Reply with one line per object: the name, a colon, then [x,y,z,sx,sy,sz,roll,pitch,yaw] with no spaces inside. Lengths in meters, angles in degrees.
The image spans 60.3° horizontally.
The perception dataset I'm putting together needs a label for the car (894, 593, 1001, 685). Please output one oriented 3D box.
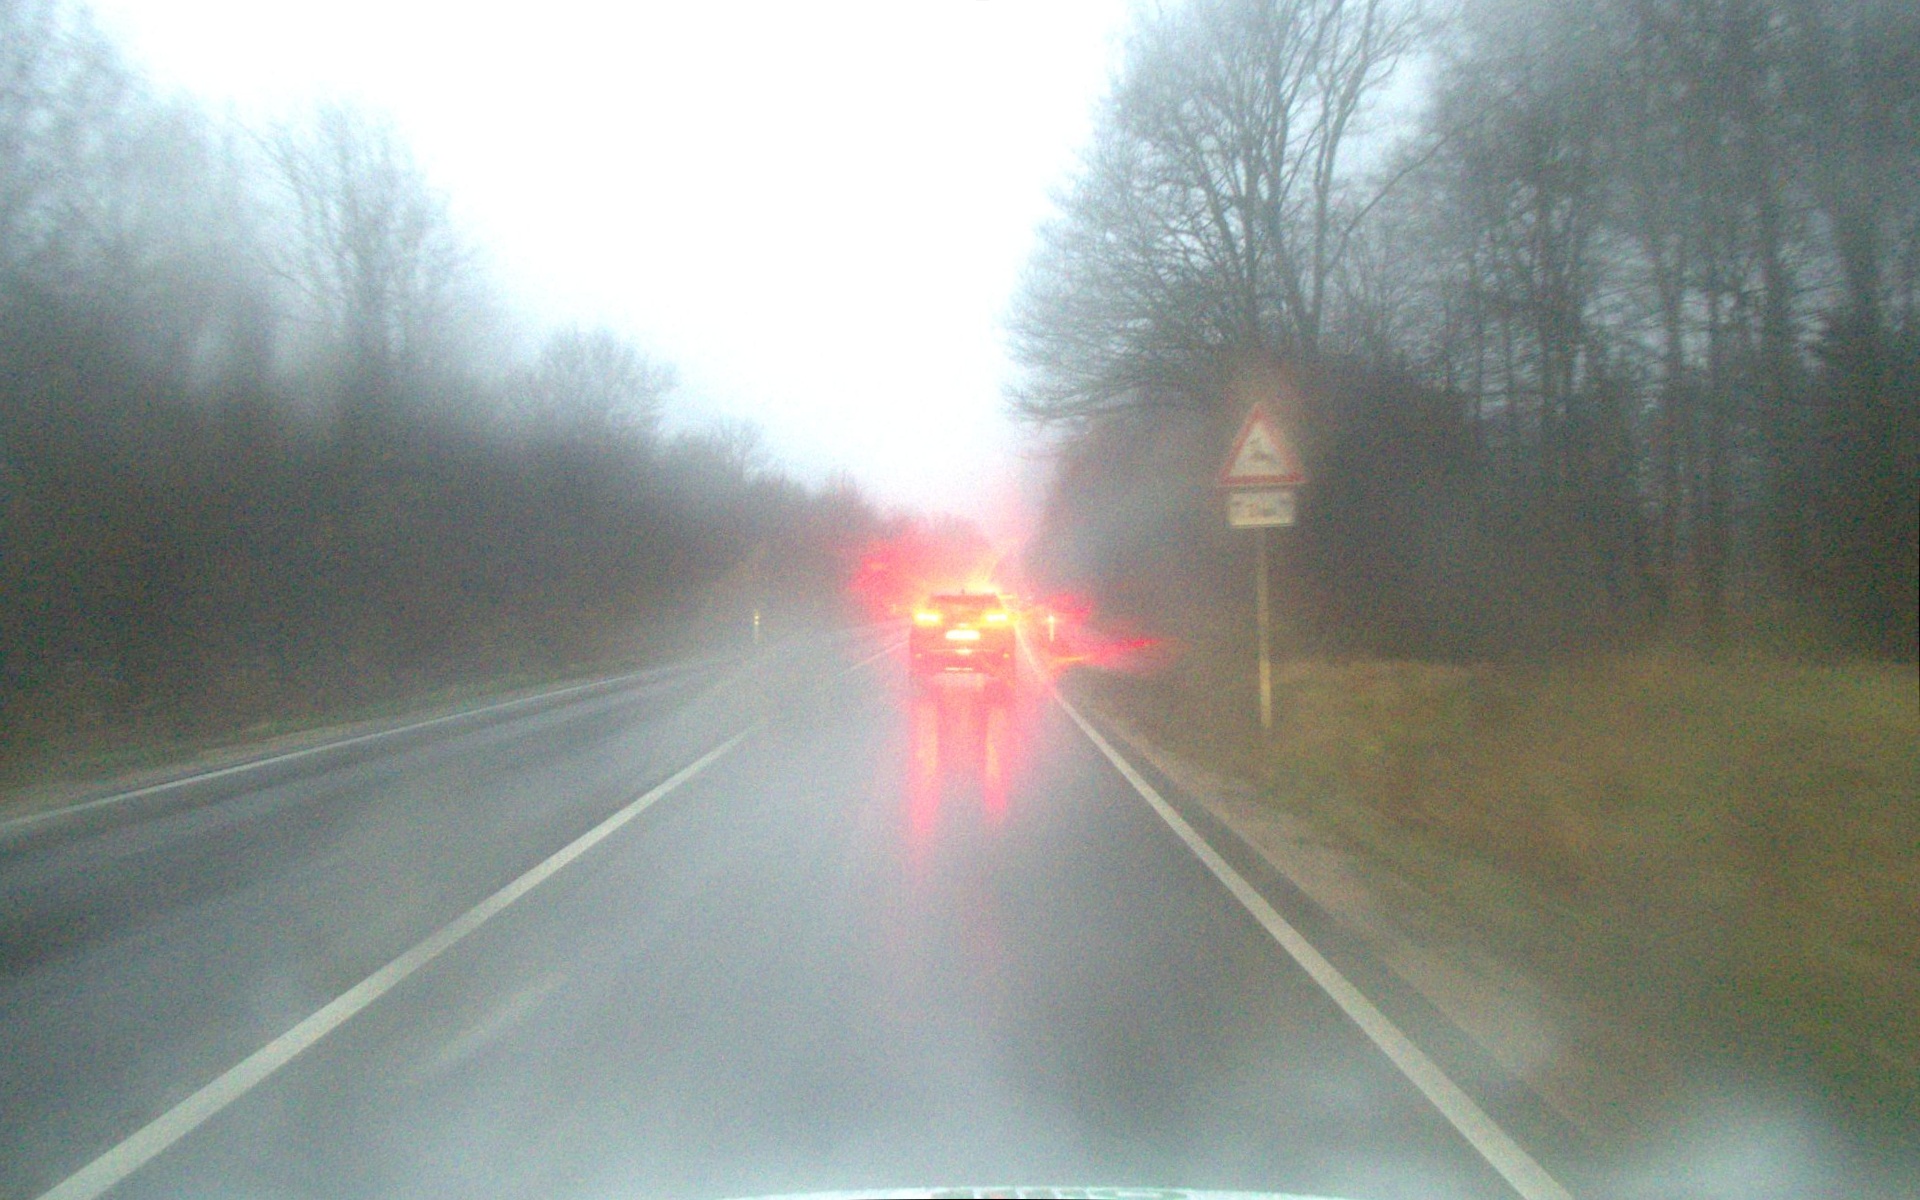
car: [-0.142,0.601,27.990,1.644,1.414,4.099,-1,0,2]
